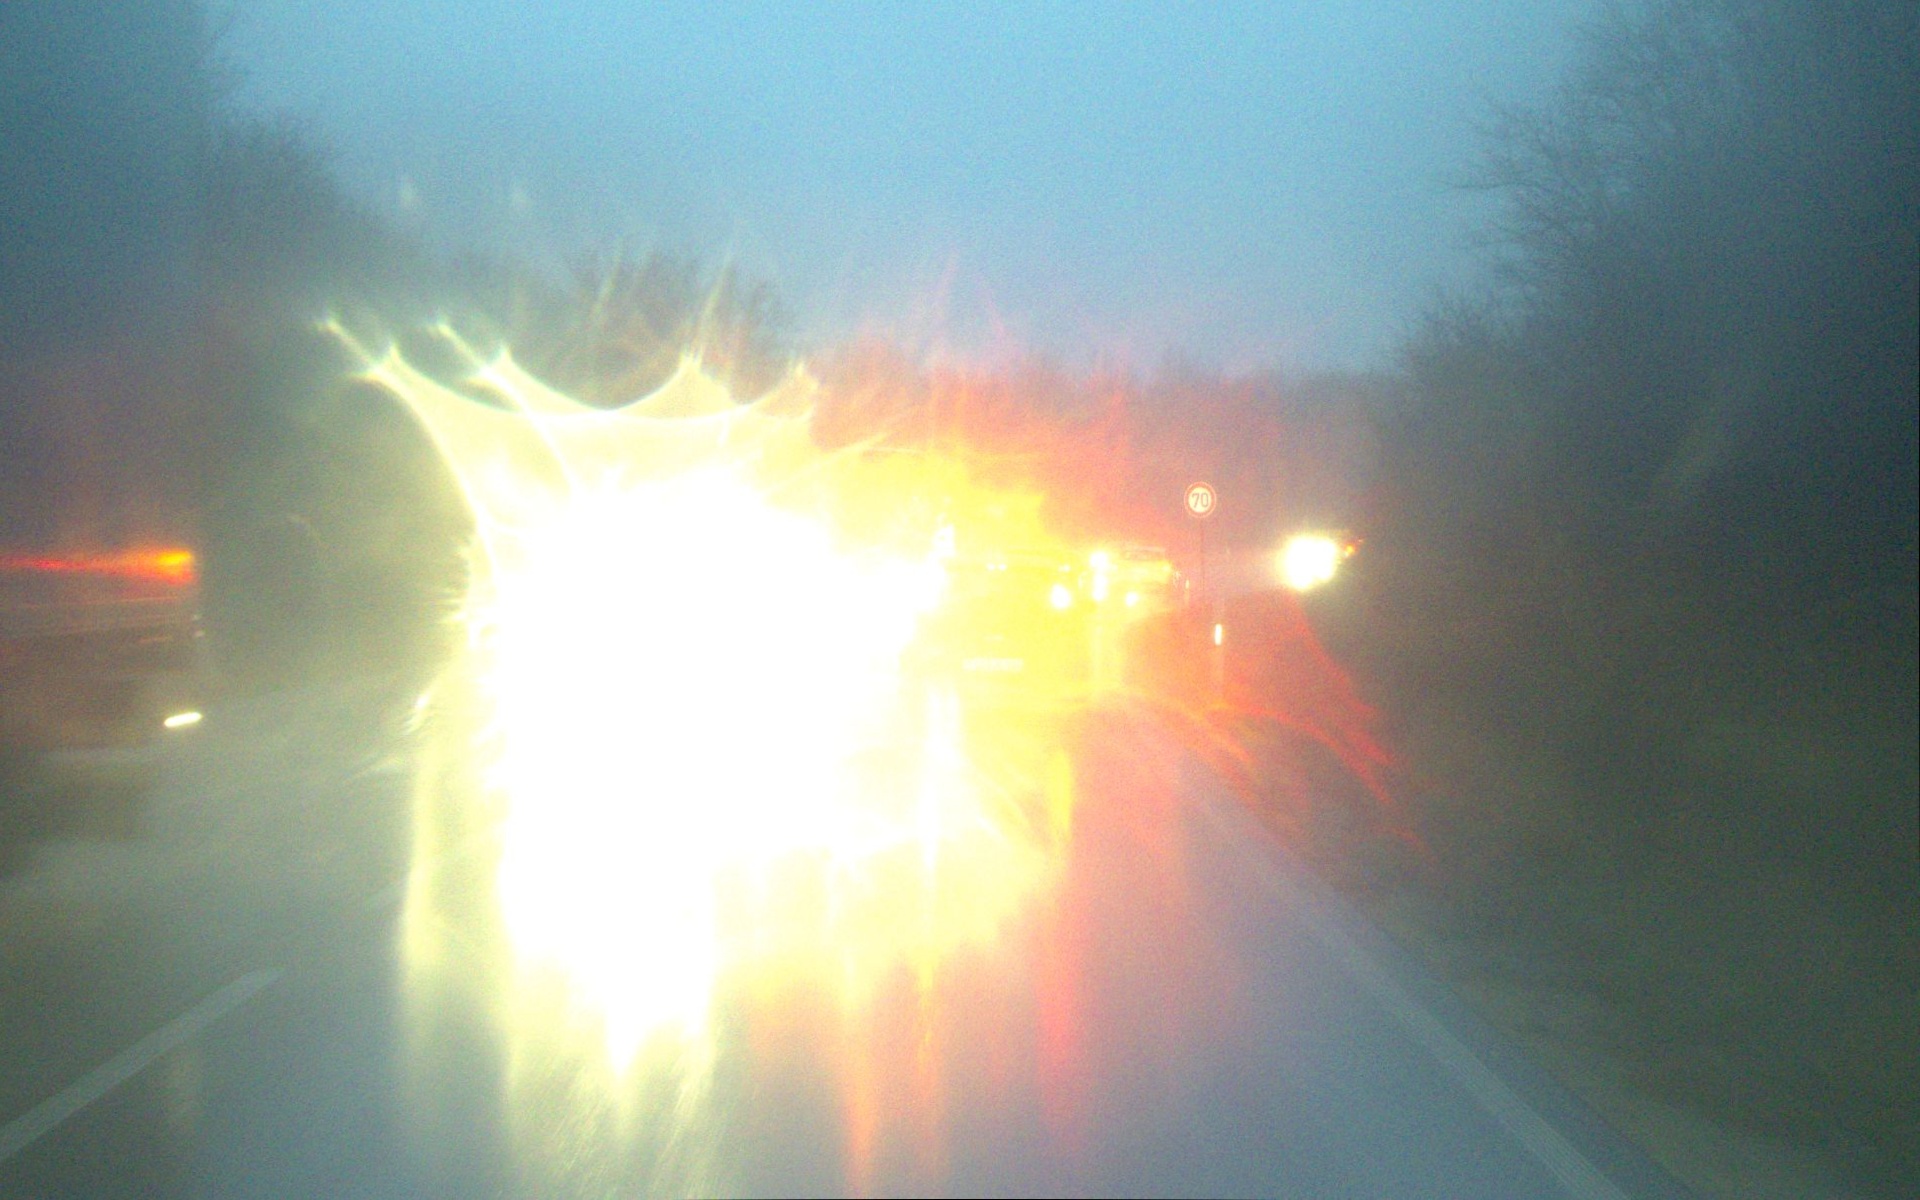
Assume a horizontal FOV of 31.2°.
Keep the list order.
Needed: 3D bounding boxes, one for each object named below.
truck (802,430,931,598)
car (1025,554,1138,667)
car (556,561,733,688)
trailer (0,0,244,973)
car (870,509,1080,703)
[{"bbox_3d":[-2.142,-2.007,80.799,2.822,3.703,8.534,-1,1,-1],"label":"truck"},{"bbox_3d":[2.329,0.170,64.928,1.994,2.007,4.000,-1,1,4],"label":"car"},{"bbox_3d":[-3.992,0.276,44.158,1.745,1.468,4.483,1,1,1],"label":"car"},{"bbox_3d":[-4.465,-0.763,8.028,2.778,4.075,13.518,-1,1,0],"label":"trailer"},{"bbox_3d":[0.078,0.008,31.362,1.727,1.637,4.001,-1,1,-2],"label":"car"}]
